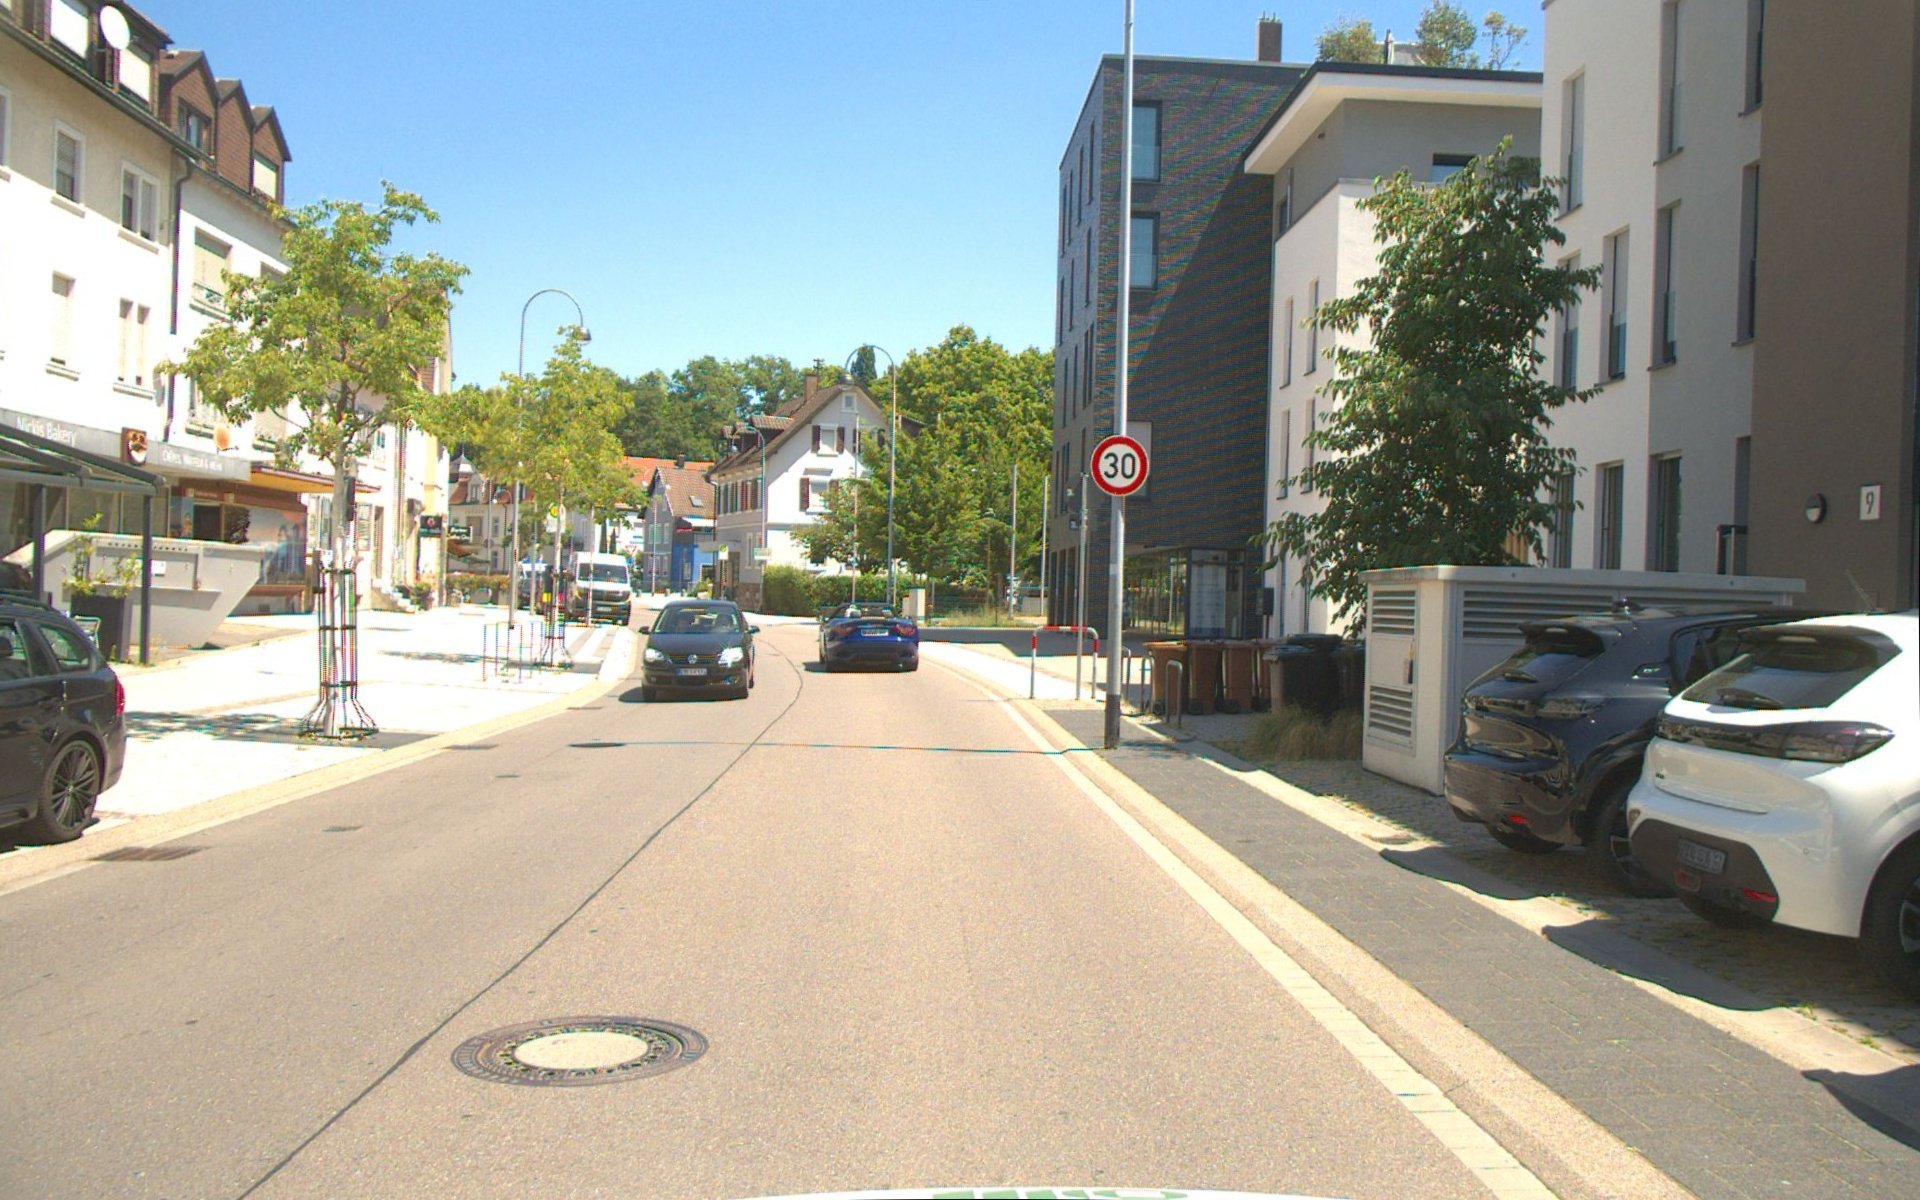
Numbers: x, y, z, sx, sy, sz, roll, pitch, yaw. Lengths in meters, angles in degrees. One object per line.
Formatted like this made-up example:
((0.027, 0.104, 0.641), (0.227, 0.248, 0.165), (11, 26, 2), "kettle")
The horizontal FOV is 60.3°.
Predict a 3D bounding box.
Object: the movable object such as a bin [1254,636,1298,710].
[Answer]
((4.149, 0.956, 21.734), (0.456, 0.947, 0.522), (0, 0, -3), "movable object such as a bin")

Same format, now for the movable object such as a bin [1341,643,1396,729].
((4.646, 0.967, 18.827), (0.475, 0.947, 0.466), (0, 0, -8), "movable object such as a bin")

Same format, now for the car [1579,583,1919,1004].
((4.825, 0.730, 6.987), (3.733, 1.508, 1.776), (1, 0, -5), "car")

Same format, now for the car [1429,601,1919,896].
((4.595, 0.746, 9.117), (3.582, 1.470, 1.535), (0, 0, -1), "car")

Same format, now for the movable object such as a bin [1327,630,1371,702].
((5.246, 0.884, 22.324), (0.464, 0.947, 0.528), (0, 0, -3), "movable object such as a bin")

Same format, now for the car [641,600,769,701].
((-3.966, 0.744, 26.255), (1.584, 1.479, 3.862), (0, 0, -2), "car")

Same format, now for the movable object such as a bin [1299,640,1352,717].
((4.557, 0.971, 20.615), (0.475, 0.940, 0.434), (0, 0, -25), "movable object such as a bin")

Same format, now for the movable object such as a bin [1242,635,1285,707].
((4.097, 0.956, 22.319), (0.464, 0.947, 0.528), (0, 0, -3), "movable object such as a bin")

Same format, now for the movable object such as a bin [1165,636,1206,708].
((3.032, 0.964, 22.241), (0.464, 0.947, 0.528), (0, 0, -3), "movable object such as a bin")

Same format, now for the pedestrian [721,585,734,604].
((-12.714, -0.312, 90.479), (0.581, 1.017, 0.719), (0, 1, -21), "pedestrian")

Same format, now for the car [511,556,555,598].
((-25.337, -1.342, 98.040), (2.123, 2.403, 5.220), (0, 1, -19), "car")

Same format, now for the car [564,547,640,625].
((-12.955, -0.507, 59.639), (2.059, 2.541, 5.476), (4, 0, -17), "car")

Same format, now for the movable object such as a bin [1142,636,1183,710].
((2.651, 0.955, 21.669), (0.464, 0.947, 0.528), (0, 0, -3), "movable object such as a bin")

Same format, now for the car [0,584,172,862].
((-6.073, 0.644, 8.582), (1.718, 1.470, 4.449), (3, 0, 1), "car")

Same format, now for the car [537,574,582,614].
((-16.340, -0.250, 67.451), (1.535, 1.547, 3.498), (1, 0, -18), "car")

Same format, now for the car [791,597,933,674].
((-2.094, 0.673, 33.984), (1.881, 1.384, 4.263), (-1, 1, -19), "car")

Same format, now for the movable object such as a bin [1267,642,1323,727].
((3.830, 0.960, 18.920), (0.503, 0.947, 0.465), (0, 0, -8), "movable object such as a bin")

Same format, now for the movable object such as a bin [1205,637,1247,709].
((3.583, 0.974, 22.288), (0.464, 0.947, 0.528), (0, 0, -3), "movable object such as a bin")

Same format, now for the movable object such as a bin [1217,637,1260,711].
((3.653, 0.964, 21.708), (0.456, 0.947, 0.522), (0, 0, -3), "movable object such as a bin")

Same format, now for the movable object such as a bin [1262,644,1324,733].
((3.685, 0.971, 18.318), (0.551, 0.947, 0.465), (0, 0, -8), "movable object such as a bin")

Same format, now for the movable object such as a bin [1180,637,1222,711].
((3.160, 0.964, 21.688), (0.458, 0.947, 0.528), (0, 0, -3), "movable object such as a bin")

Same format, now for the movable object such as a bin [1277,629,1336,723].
((4.083, 0.888, 19.502), (0.557, 1.079, 0.560), (0, 0, -1), "movable object such as a bin")

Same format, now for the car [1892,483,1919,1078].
((4.864, 0.588, 4.432), (3.733, 1.818, 1.839), (1, 0, -5), "car")
